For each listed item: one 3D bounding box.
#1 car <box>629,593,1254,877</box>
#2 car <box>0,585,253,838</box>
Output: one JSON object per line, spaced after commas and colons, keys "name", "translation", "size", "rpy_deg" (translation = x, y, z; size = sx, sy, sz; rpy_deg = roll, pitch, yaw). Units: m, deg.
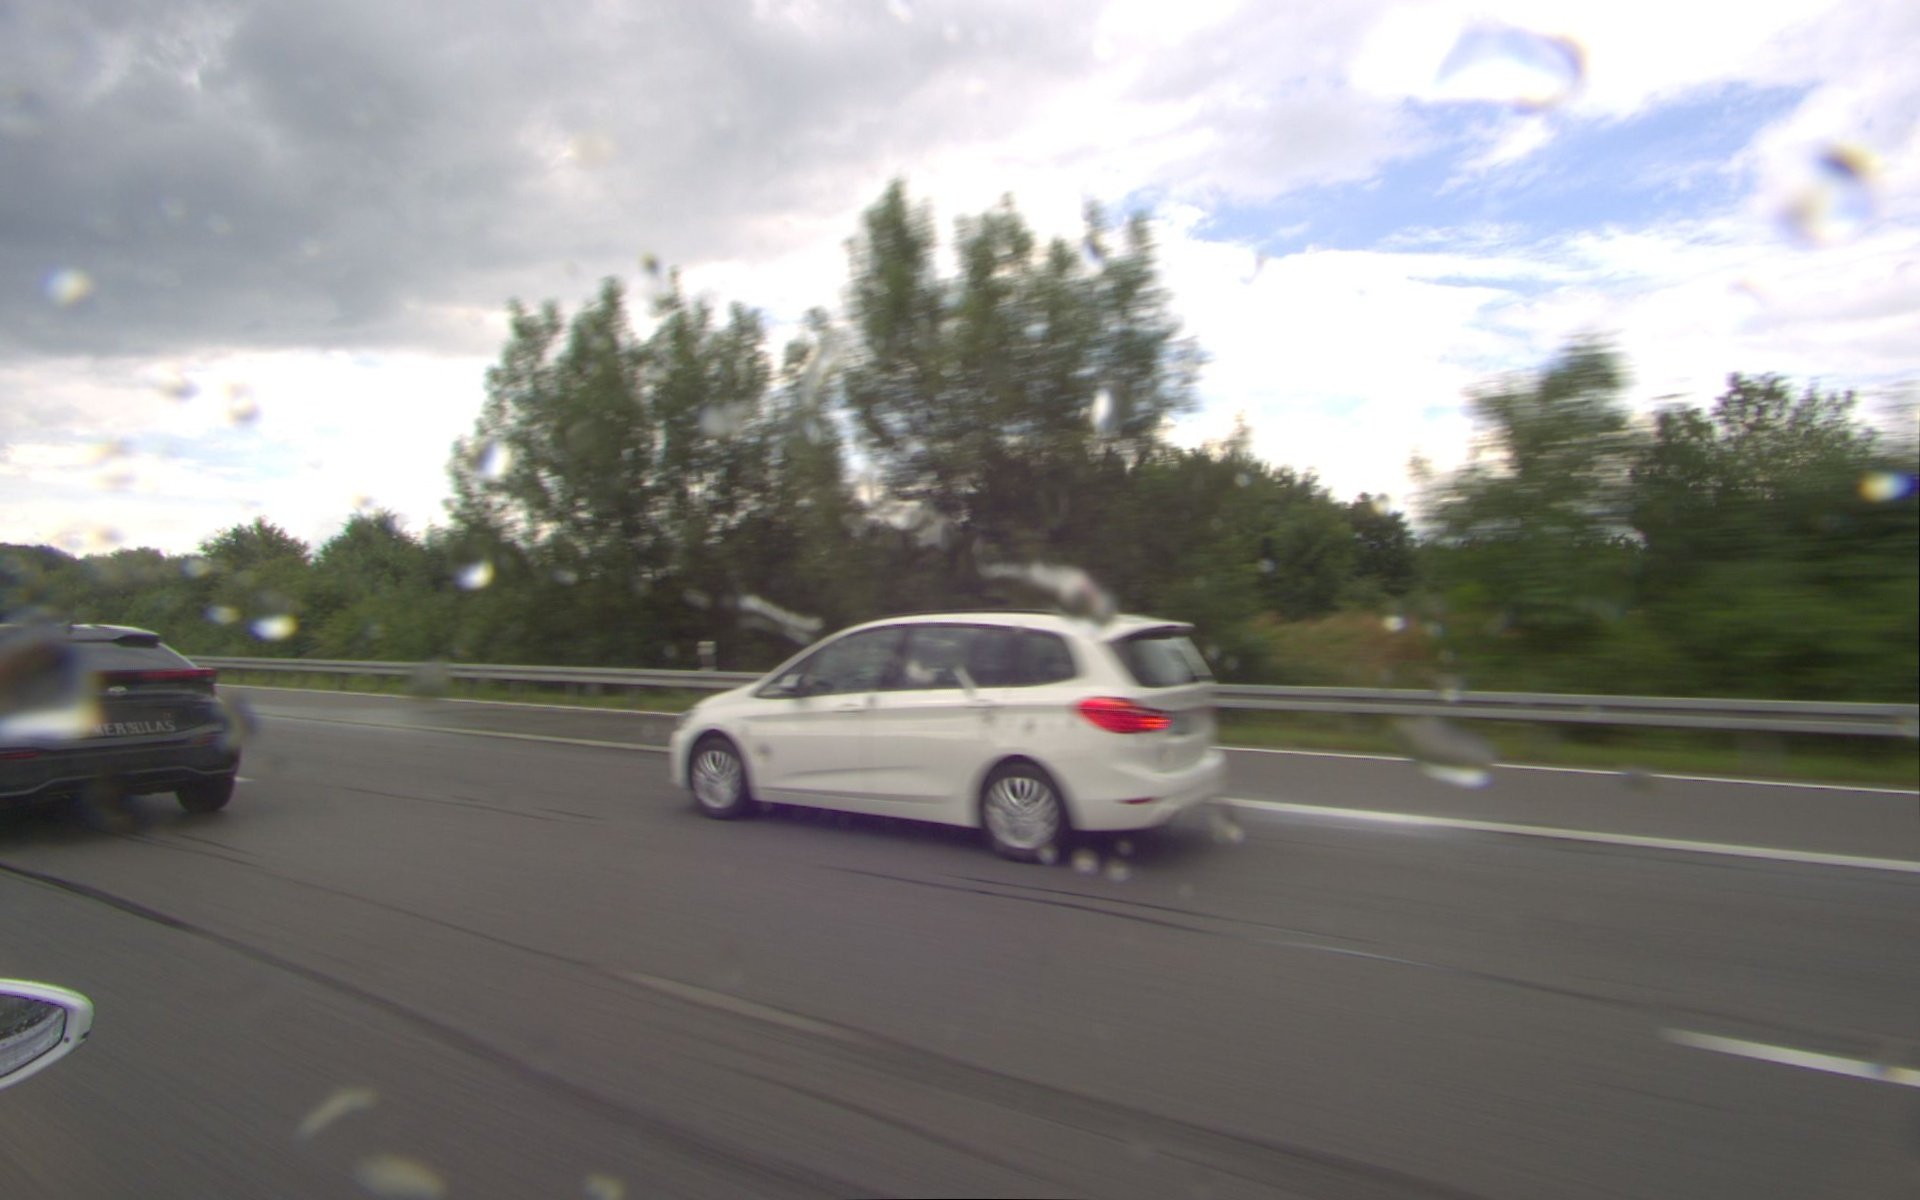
{"name": "car", "translation": [-0.295, 0.824, 7.740], "size": [4.629, 1.619, 1.807], "rpy_deg": [-1, -1, 33]}
{"name": "car", "translation": [-7.807, 0.764, 8.155], "size": [4.532, 1.633, 1.777], "rpy_deg": [-1, -1, 33]}
